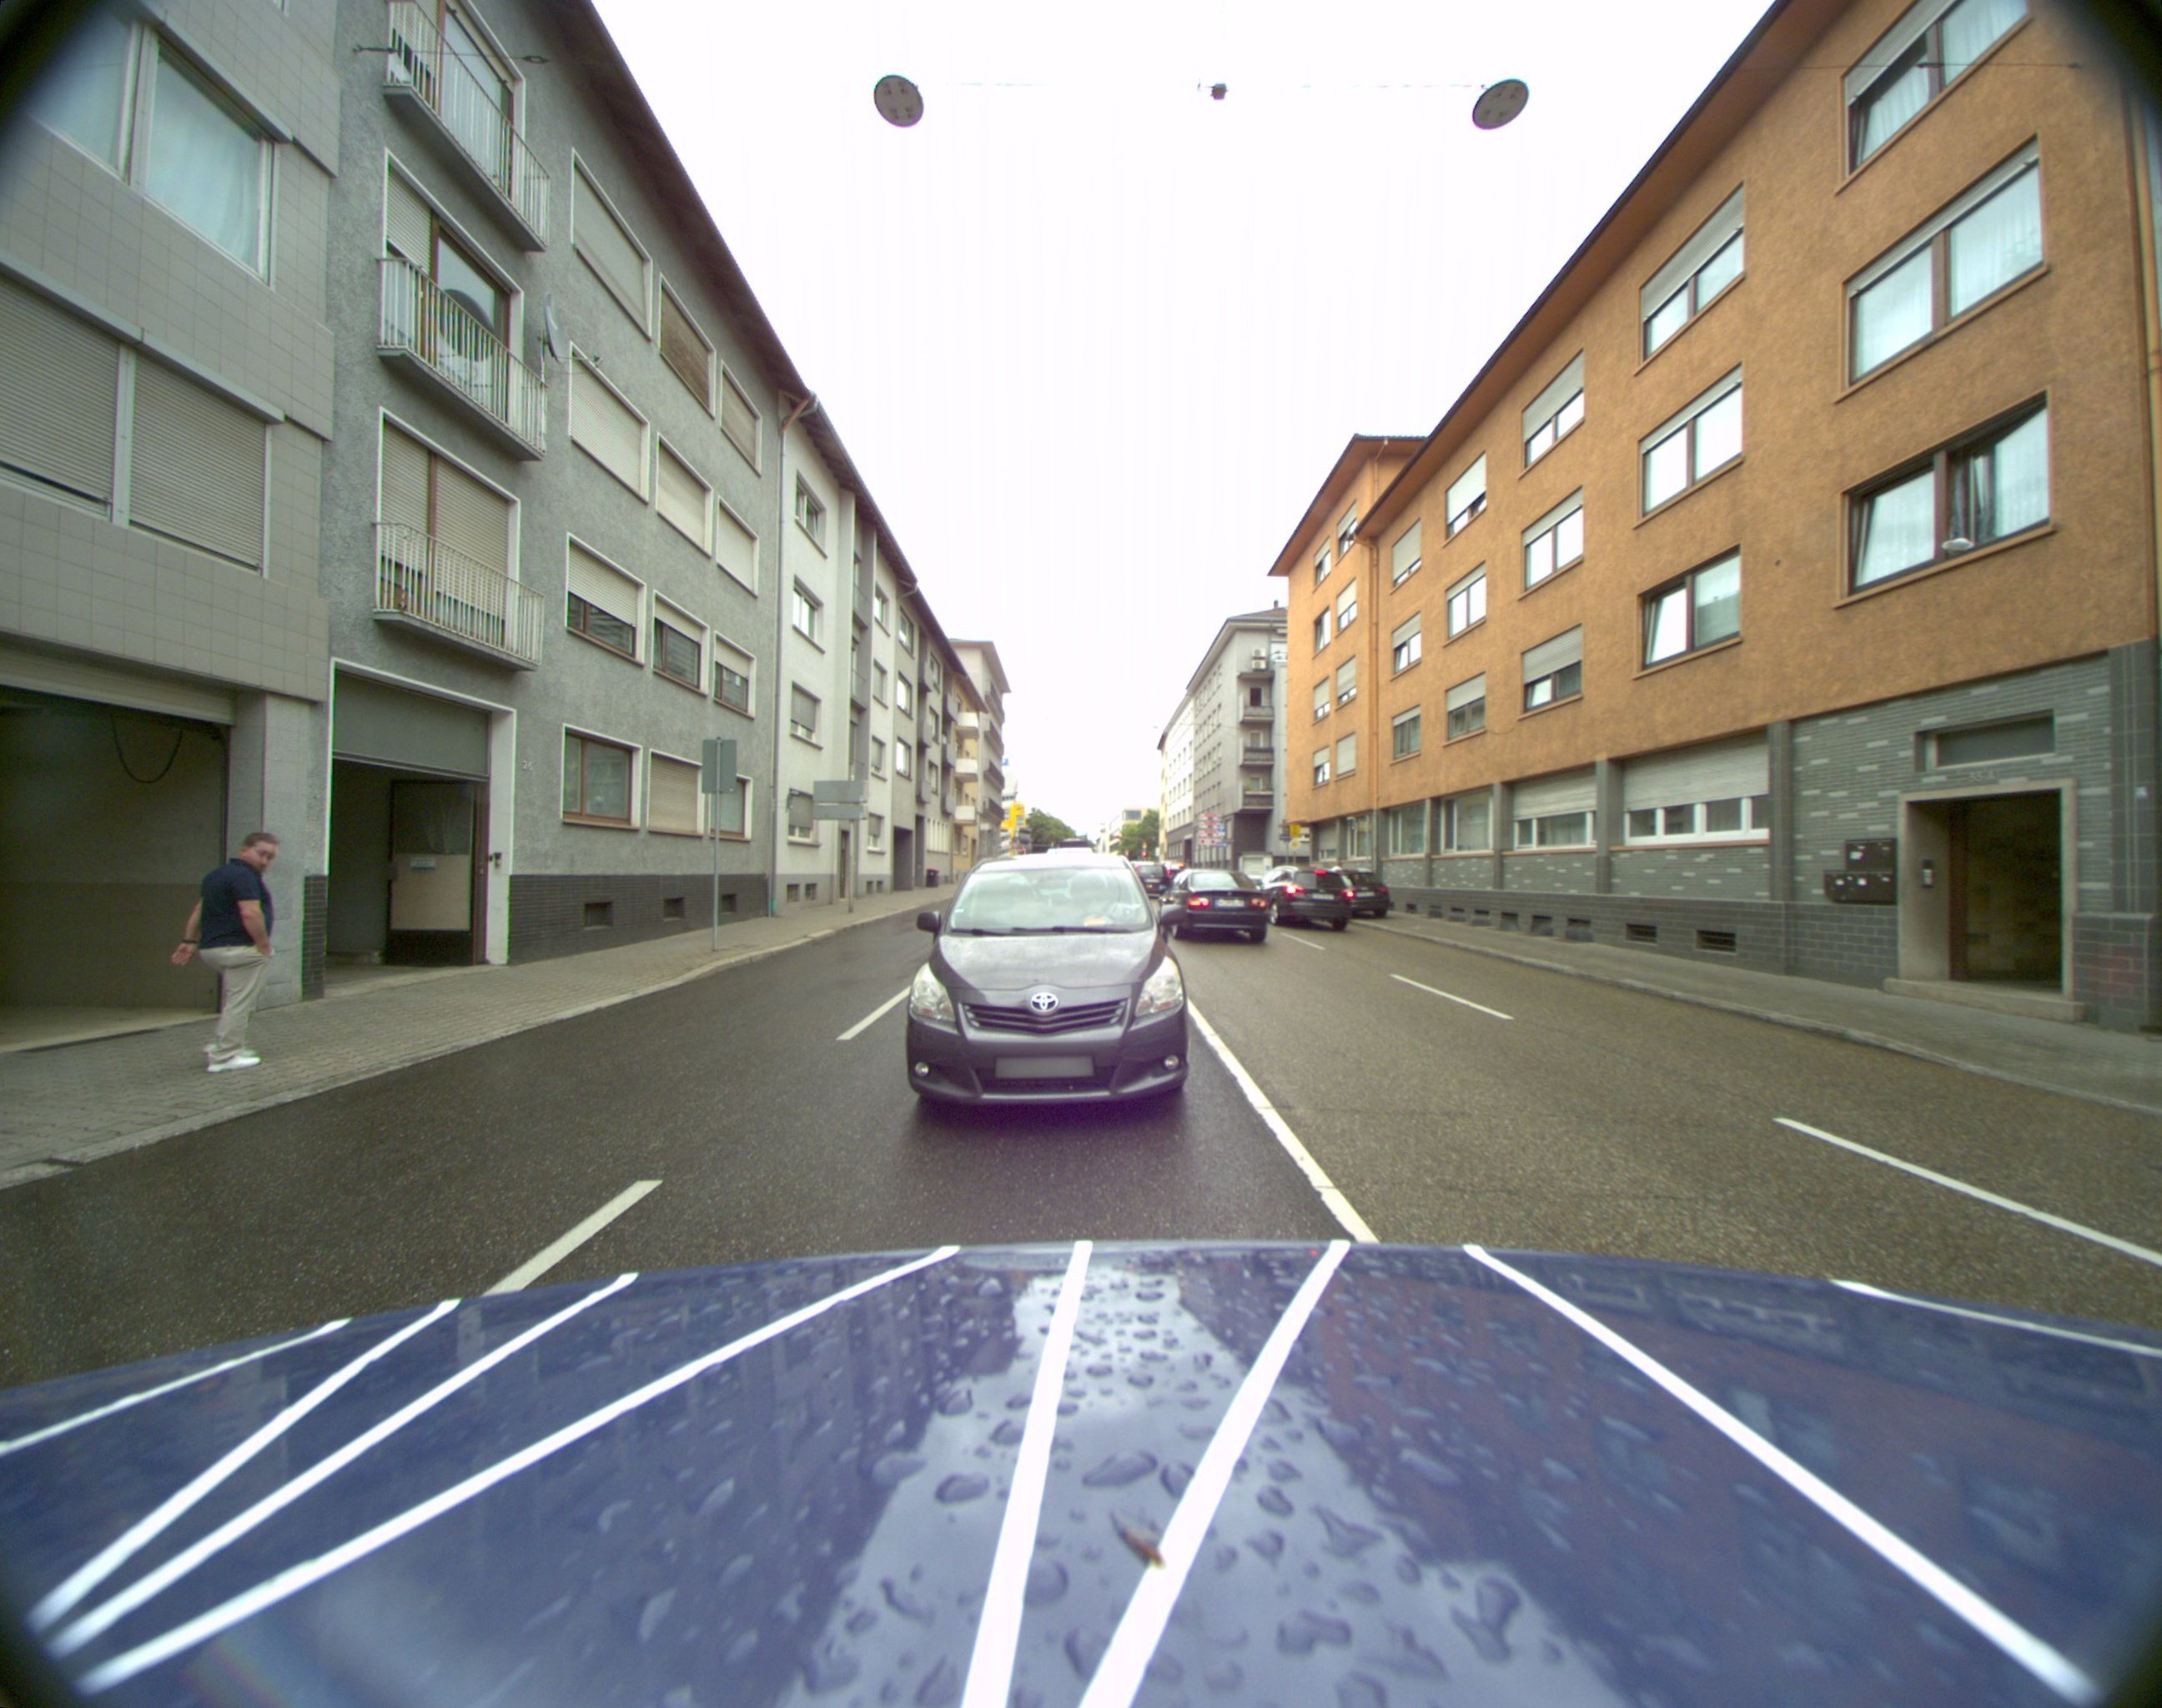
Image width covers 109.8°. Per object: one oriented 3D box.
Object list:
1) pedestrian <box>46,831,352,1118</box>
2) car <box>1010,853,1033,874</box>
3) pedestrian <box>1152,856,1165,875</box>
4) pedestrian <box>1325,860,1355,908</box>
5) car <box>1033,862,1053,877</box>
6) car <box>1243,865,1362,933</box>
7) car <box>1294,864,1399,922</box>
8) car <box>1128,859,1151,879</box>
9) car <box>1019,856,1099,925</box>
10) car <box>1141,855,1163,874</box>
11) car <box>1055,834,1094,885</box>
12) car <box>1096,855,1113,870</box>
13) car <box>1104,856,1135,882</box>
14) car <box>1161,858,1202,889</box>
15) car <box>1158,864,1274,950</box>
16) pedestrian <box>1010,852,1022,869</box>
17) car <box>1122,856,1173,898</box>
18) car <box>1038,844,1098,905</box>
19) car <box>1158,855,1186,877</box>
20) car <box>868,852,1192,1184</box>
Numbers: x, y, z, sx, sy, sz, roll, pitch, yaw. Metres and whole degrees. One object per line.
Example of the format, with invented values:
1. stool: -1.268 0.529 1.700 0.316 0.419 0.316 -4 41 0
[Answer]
1. pedestrian: -6.403 0.798 5.609 0.871 1.855 1.120 4 1 1
2. car: -5.122 0.782 65.887 1.856 1.663 4.215 -2 1 -4
3. pedestrian: 8.599 1.291 84.549 1.309 2.002 1.258 -2 1 1
4. pedestrian: 9.305 1.062 27.335 0.768 1.630 1.023 -2 1 5
5. car: -3.979 1.615 80.049 1.856 1.369 4.217 -2 1 1
6. car: 5.601 1.068 19.834 1.727 1.464 4.373 2 0 -1
7. car: 8.050 1.135 23.460 1.799 1.466 4.217 -2 1 1
8. car: 5.463 1.351 71.658 1.856 1.651 4.610 -2 1 1
9. car: -0.499 0.886 20.097 1.856 1.524 3.792 -2 1 1
10. car: 7.266 1.048 77.676 1.856 1.712 4.217 -2 1 1
11. car: -0.324 0.288 43.645 2.033 2.731 4.368 -2 1 1
12. car: 2.854 1.050 92.786 1.856 1.712 4.217 -2 1 1
13. car: 2.470 0.953 49.629 1.749 1.530 4.052 2 1 -1
14. car: 5.953 1.137 45.496 1.699 1.530 4.435 4 1 0
15. car: 2.639 0.981 15.772 1.699 1.362 4.217 2 1 1
16. pedestrian: -6.753 0.694 79.005 1.119 1.741 0.961 1 1 -5
17. car: 2.724 0.888 31.795 1.622 1.530 4.216 2 1 -1
18. car: -0.390 0.629 26.602 1.856 1.882 4.217 -2 1 1
19. car: 7.825 0.977 65.752 1.856 1.712 4.217 -2 1 1
20. car: -0.247 0.896 6.253 1.699 1.712 4.217 -2 1 1
